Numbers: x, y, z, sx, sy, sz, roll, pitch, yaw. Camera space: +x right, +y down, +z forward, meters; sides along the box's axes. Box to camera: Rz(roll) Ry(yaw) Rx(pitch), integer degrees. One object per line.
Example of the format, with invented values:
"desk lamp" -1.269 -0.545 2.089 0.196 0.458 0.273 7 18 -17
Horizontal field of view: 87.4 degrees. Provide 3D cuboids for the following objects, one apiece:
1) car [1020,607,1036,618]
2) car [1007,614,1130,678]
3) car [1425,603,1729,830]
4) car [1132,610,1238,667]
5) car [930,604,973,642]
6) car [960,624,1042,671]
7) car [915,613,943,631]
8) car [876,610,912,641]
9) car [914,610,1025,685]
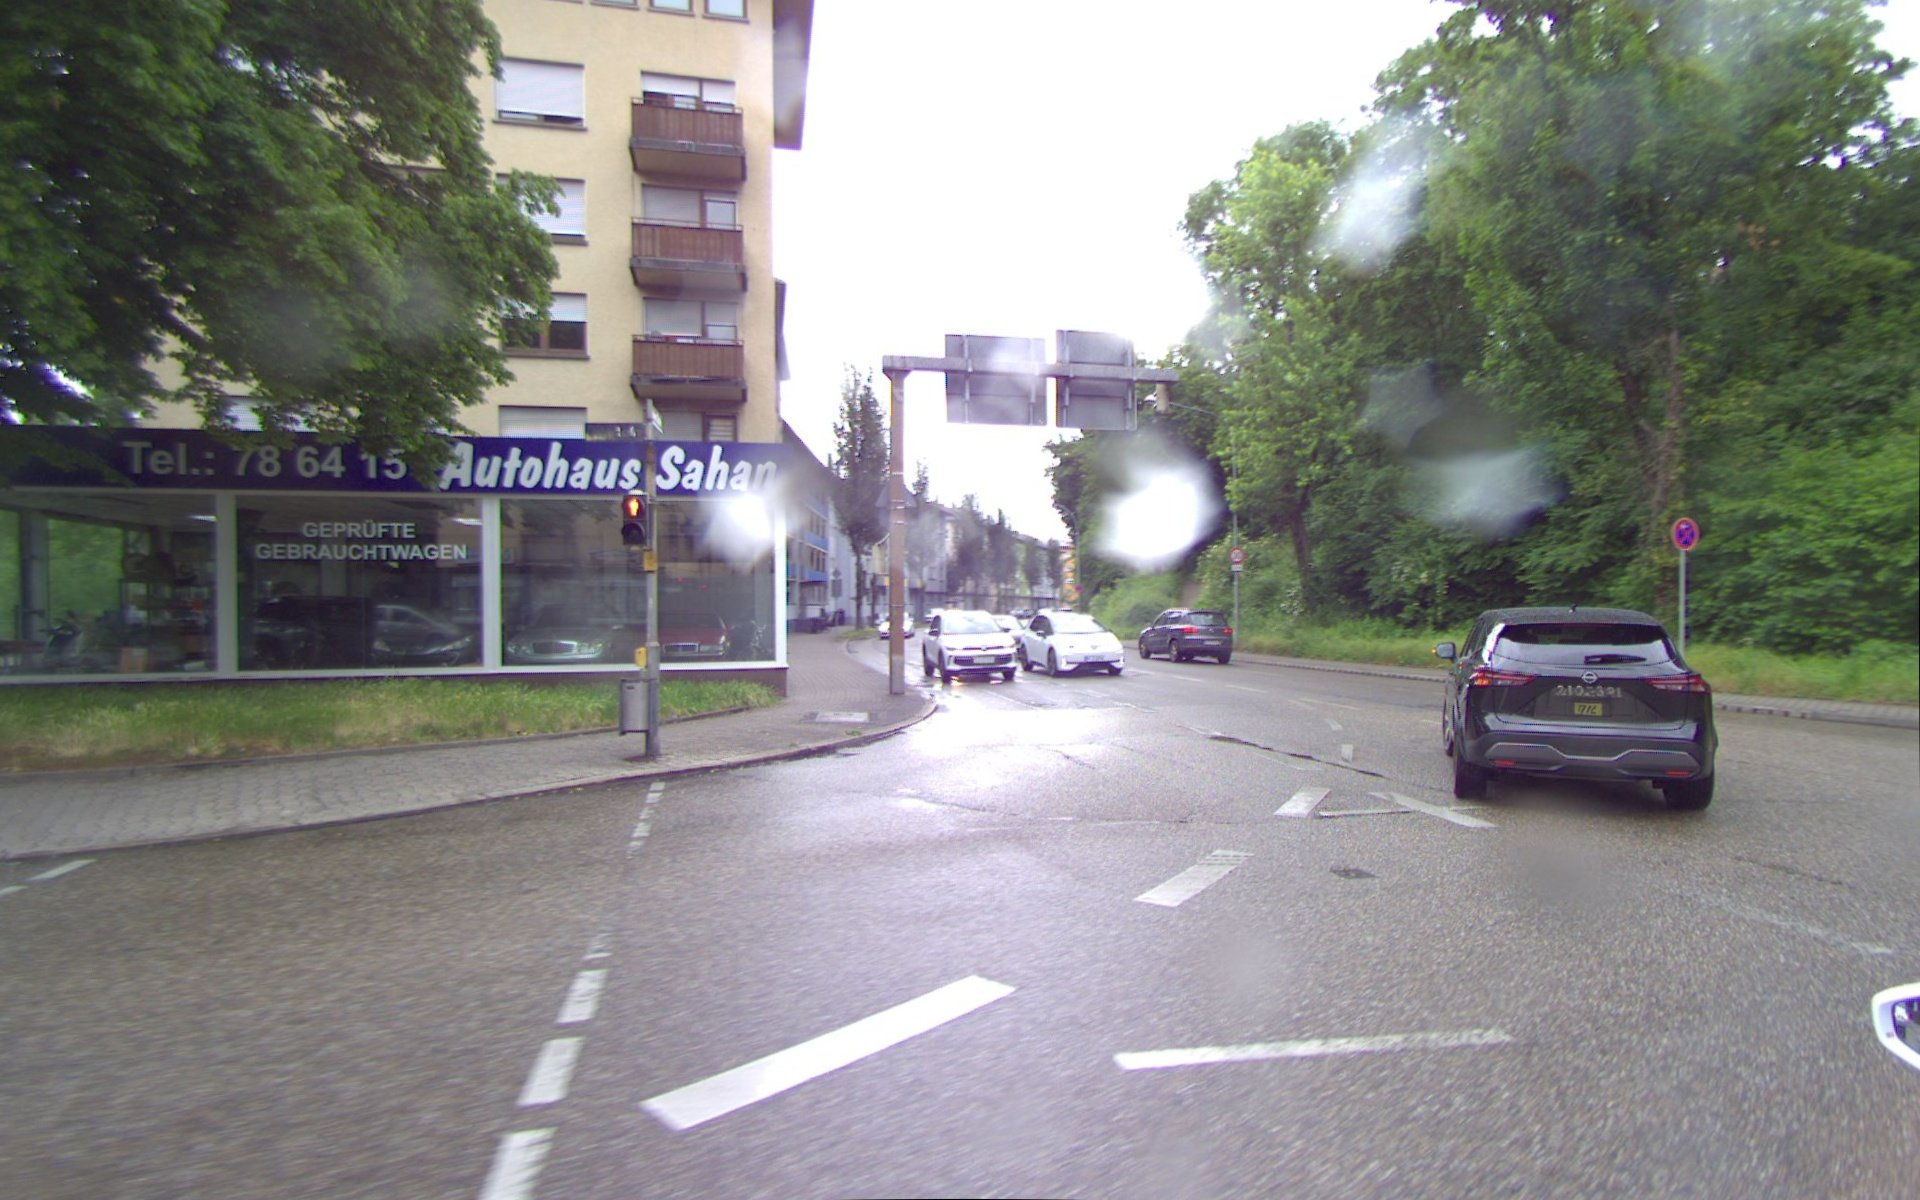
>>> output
"car" 10.832 1.969 160.176 1.897 1.668 3.842 0 0 13
"car" 2.722 1.147 26.324 1.902 1.459 4.622 -2 -1 -11
"car" 5.430 0.875 9.383 1.782 1.624 3.999 0 -1 22
"car" 7.014 1.159 31.770 1.785 1.624 3.991 -1 0 -12
"car" -0.472 1.102 49.441 1.961 1.740 3.999 0 0 -3
"car" 1.302 1.555 34.189 1.730 1.386 4.622 -2 -1 -11
"car" -2.904 2.037 94.990 1.896 1.668 4.634 0 0 8
"car" -3.730 1.434 57.599 1.898 1.668 4.630 0 0 -2
"car" 0.126 1.146 25.708 1.902 1.667 4.622 -2 -1 -11
